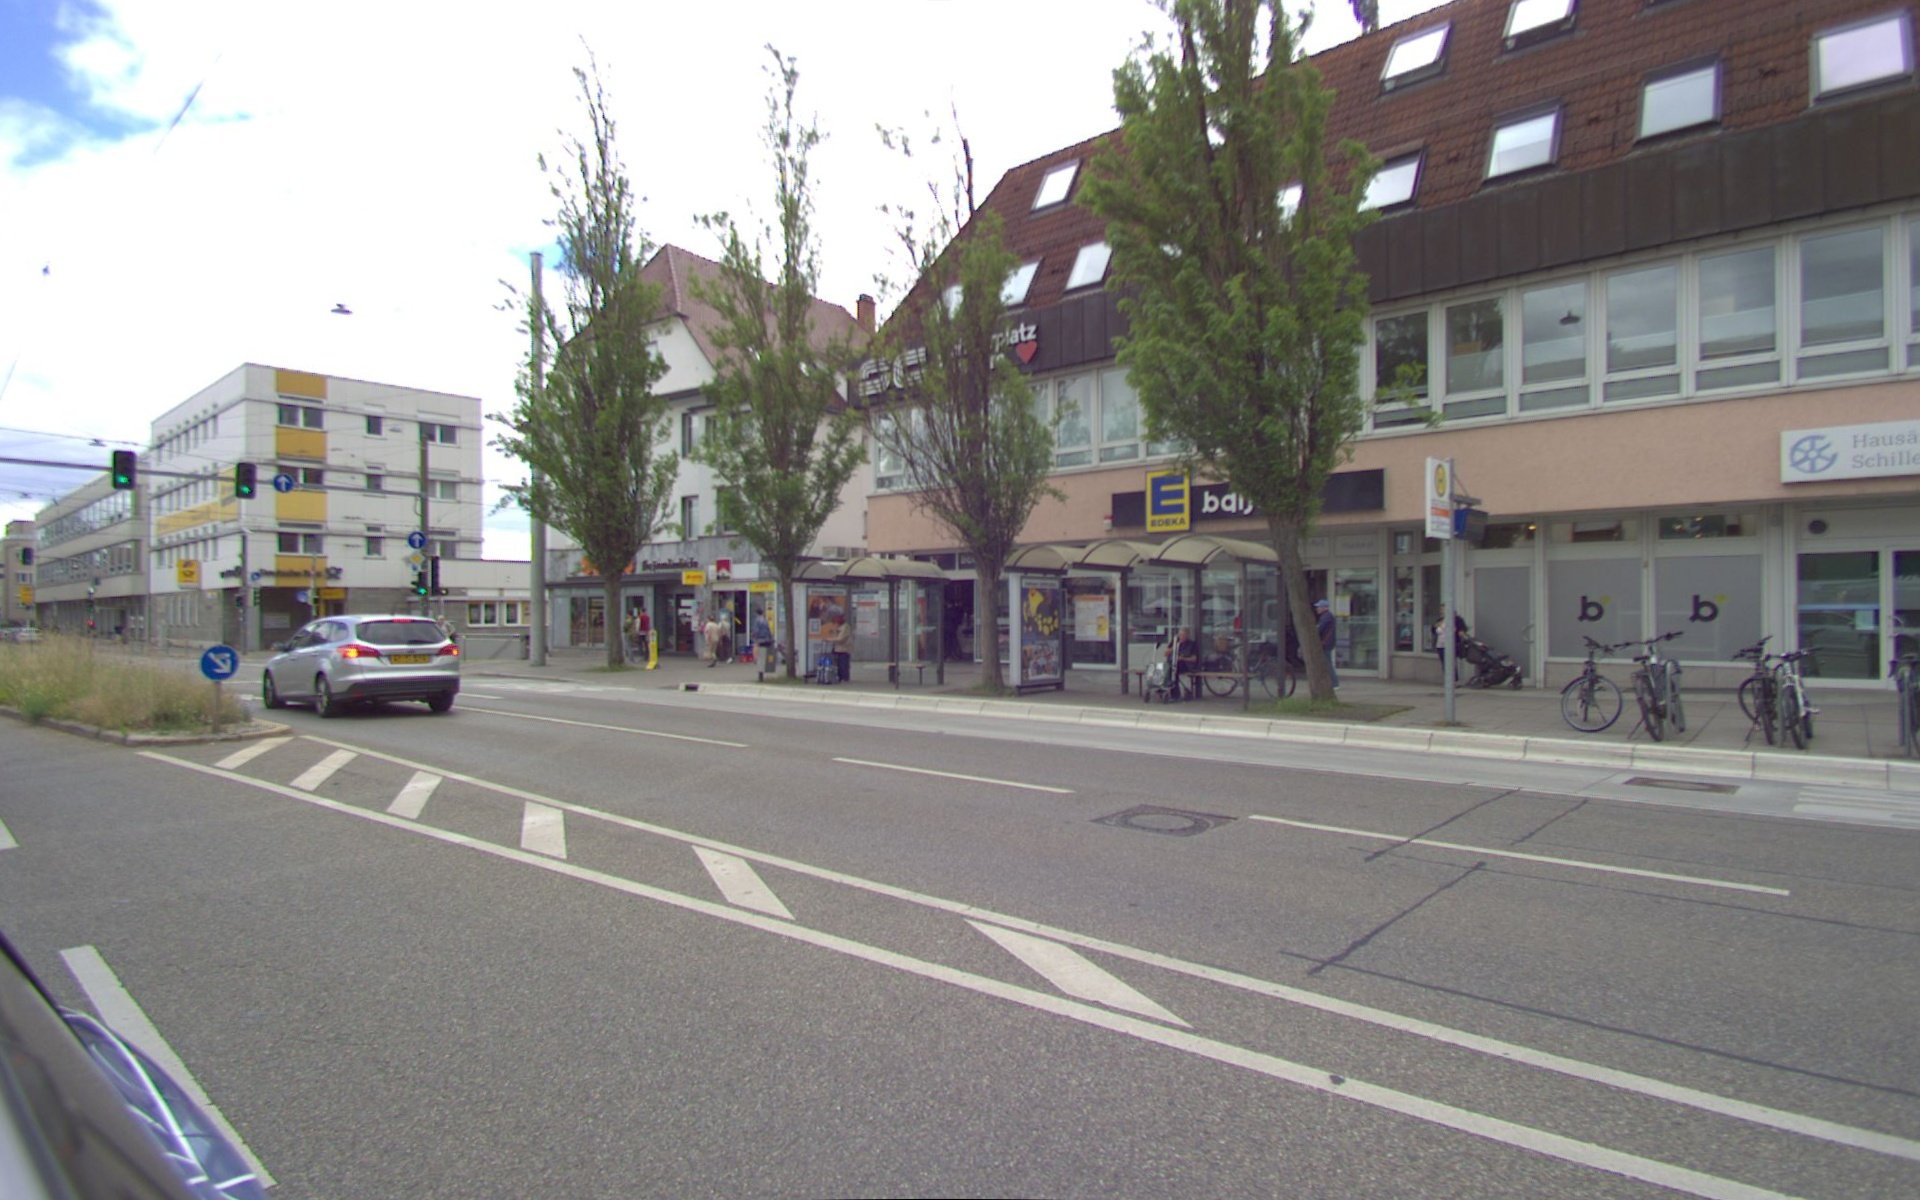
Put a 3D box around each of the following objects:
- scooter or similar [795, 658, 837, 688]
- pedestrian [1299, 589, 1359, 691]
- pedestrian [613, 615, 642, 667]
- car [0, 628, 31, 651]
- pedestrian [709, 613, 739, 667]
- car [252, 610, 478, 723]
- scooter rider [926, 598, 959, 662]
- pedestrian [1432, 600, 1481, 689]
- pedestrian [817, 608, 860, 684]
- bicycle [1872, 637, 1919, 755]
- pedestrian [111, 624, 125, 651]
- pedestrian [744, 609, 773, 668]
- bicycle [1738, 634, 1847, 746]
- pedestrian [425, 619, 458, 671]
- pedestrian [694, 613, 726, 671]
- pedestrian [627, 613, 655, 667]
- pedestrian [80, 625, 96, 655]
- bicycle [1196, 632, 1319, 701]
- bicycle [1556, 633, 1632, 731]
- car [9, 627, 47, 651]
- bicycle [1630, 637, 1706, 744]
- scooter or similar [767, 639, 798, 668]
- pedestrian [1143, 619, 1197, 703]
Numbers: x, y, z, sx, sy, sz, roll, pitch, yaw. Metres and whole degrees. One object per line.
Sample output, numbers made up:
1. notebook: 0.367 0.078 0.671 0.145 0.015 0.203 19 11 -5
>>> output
1. scooter or similar: -3.157 1.585 22.170 0.702 0.606 0.586 -2 -2 41
2. pedestrian: 6.700 0.707 18.382 0.755 1.777 0.718 -2 1 40
3. pedestrian: -10.718 1.315 32.662 0.614 1.646 0.580 -2 1 40
4. car: -88.037 3.650 93.983 4.483 2.029 1.973 -2 -1 40
5. pedestrian: -7.400 1.254 31.736 0.614 1.646 0.580 -2 1 40
6. car: -9.351 0.967 15.761 4.343 1.517 1.854 -2 -3 43
7. scooter rider: -0.490 0.827 28.152 0.587 1.725 0.607 -2 1 38
8. pedestrian: 9.017 0.800 18.384 0.587 1.559 0.704 -3 -2 41
9. pedestrian: -2.706 1.026 22.596 0.709 1.665 0.583 -2 -1 24
10. bicycle: 9.945 0.947 10.274 0.647 1.098 2.002 -2 -1 32
11. pedestrian: -57.627 2.582 69.265 0.526 1.816 0.580 -2 1 42
12. pedestrian: -5.976 1.117 30.004 0.614 1.725 0.580 0 -1 40
13. bicycle: 9.226 0.947 11.285 0.647 1.098 2.002 -2 -1 32
14. pedestrian: -17.192 1.497 33.574 0.613 1.646 0.695 -2 1 31
15. pedestrian: -7.299 1.222 29.581 0.614 1.646 0.580 -2 1 40
16. pedestrian: -10.618 1.322 33.658 0.614 1.725 0.580 -2 1 40
17. pedestrian: -53.797 2.453 62.443 0.526 1.816 0.580 -2 1 42
18. bicycle: 4.995 1.099 17.098 1.929 1.098 0.528 -2 -1 40
19. bicycle: 8.120 1.010 13.024 0.646 1.098 2.005 -1 -1 28
20. car: -83.100 3.507 90.232 4.483 2.029 1.973 -2 -1 40
21. bicycle: 8.287 1.003 11.811 0.648 1.098 1.999 -2 -1 37
22. scooter or similar: -5.235 1.573 29.912 0.702 0.855 0.586 -2 -2 41
23. pedestrian: 3.585 1.024 17.272 0.588 1.374 0.704 -3 -2 44
